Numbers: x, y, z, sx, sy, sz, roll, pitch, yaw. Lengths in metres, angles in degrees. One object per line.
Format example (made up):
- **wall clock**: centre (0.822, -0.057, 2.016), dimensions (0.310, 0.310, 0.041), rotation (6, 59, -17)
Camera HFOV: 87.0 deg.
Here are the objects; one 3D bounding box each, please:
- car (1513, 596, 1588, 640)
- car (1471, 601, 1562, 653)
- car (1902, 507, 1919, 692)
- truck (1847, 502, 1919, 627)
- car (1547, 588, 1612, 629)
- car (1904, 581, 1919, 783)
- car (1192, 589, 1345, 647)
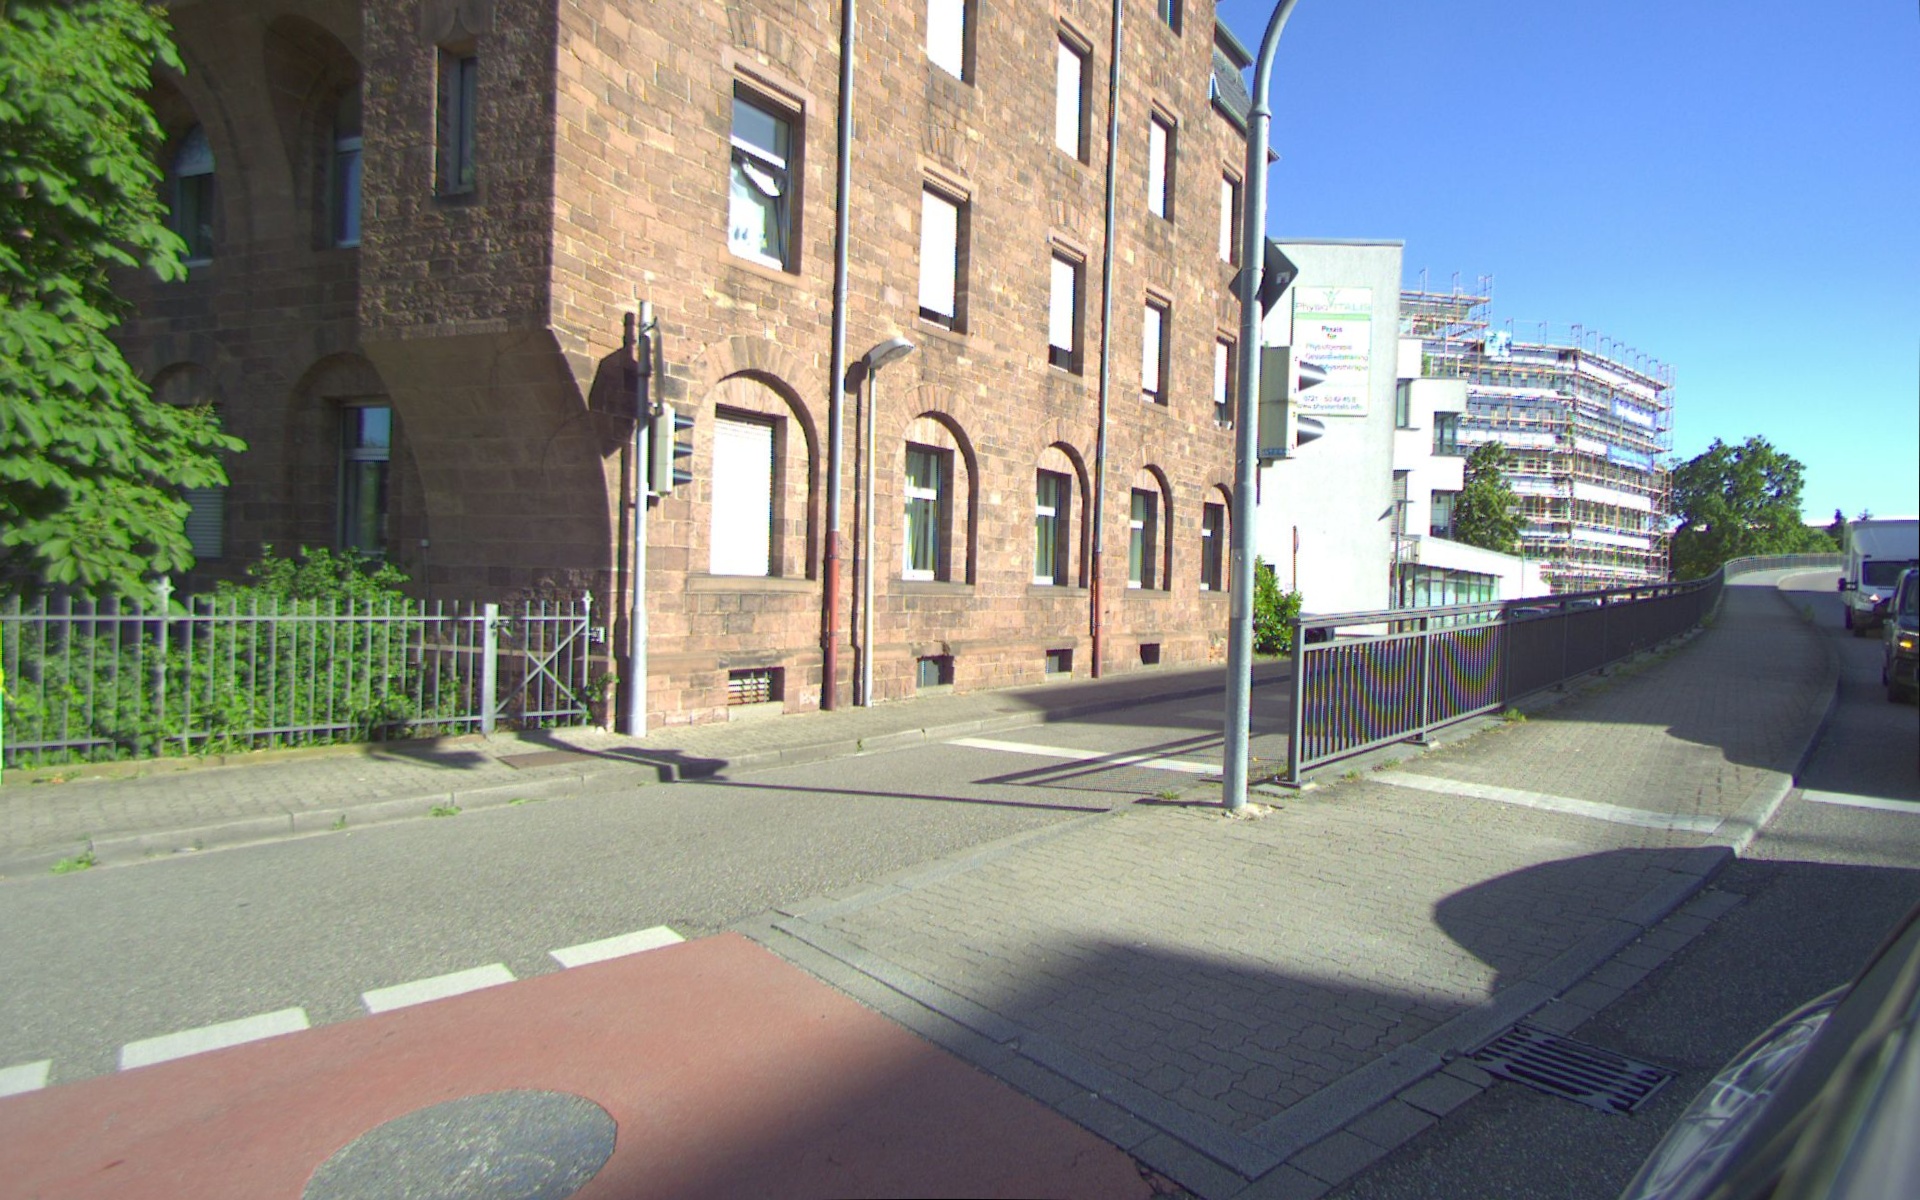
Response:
- **car**: centre (22.704, 0.679, 38.848), dimensions (2.043, 1.551, 4.037), rotation (2, 0, 37)
- **car**: centre (18.593, 0.860, 33.736), dimensions (2.043, 1.551, 4.036), rotation (2, 0, 38)
- **car**: centre (14.135, 0.047, 13.700), dimensions (1.945, 2.290, 4.710), rotation (2, 1, 43)
- **truck**: centre (26.478, -0.877, 28.251), dimensions (2.495, 3.167, 6.855), rotation (2, 1, 41)
- **car**: centre (27.618, 0.369, 45.064), dimensions (2.043, 1.707, 4.037), rotation (2, 0, 37)
- **car**: centre (9.299, 0.623, 8.517), dimensions (1.875, 1.489, 4.562), rotation (3, 2, 44)
- **car**: centre (9.124, 0.507, 30.204), dimensions (4.020, 1.551, 1.917), rotation (2, 0, 5)
